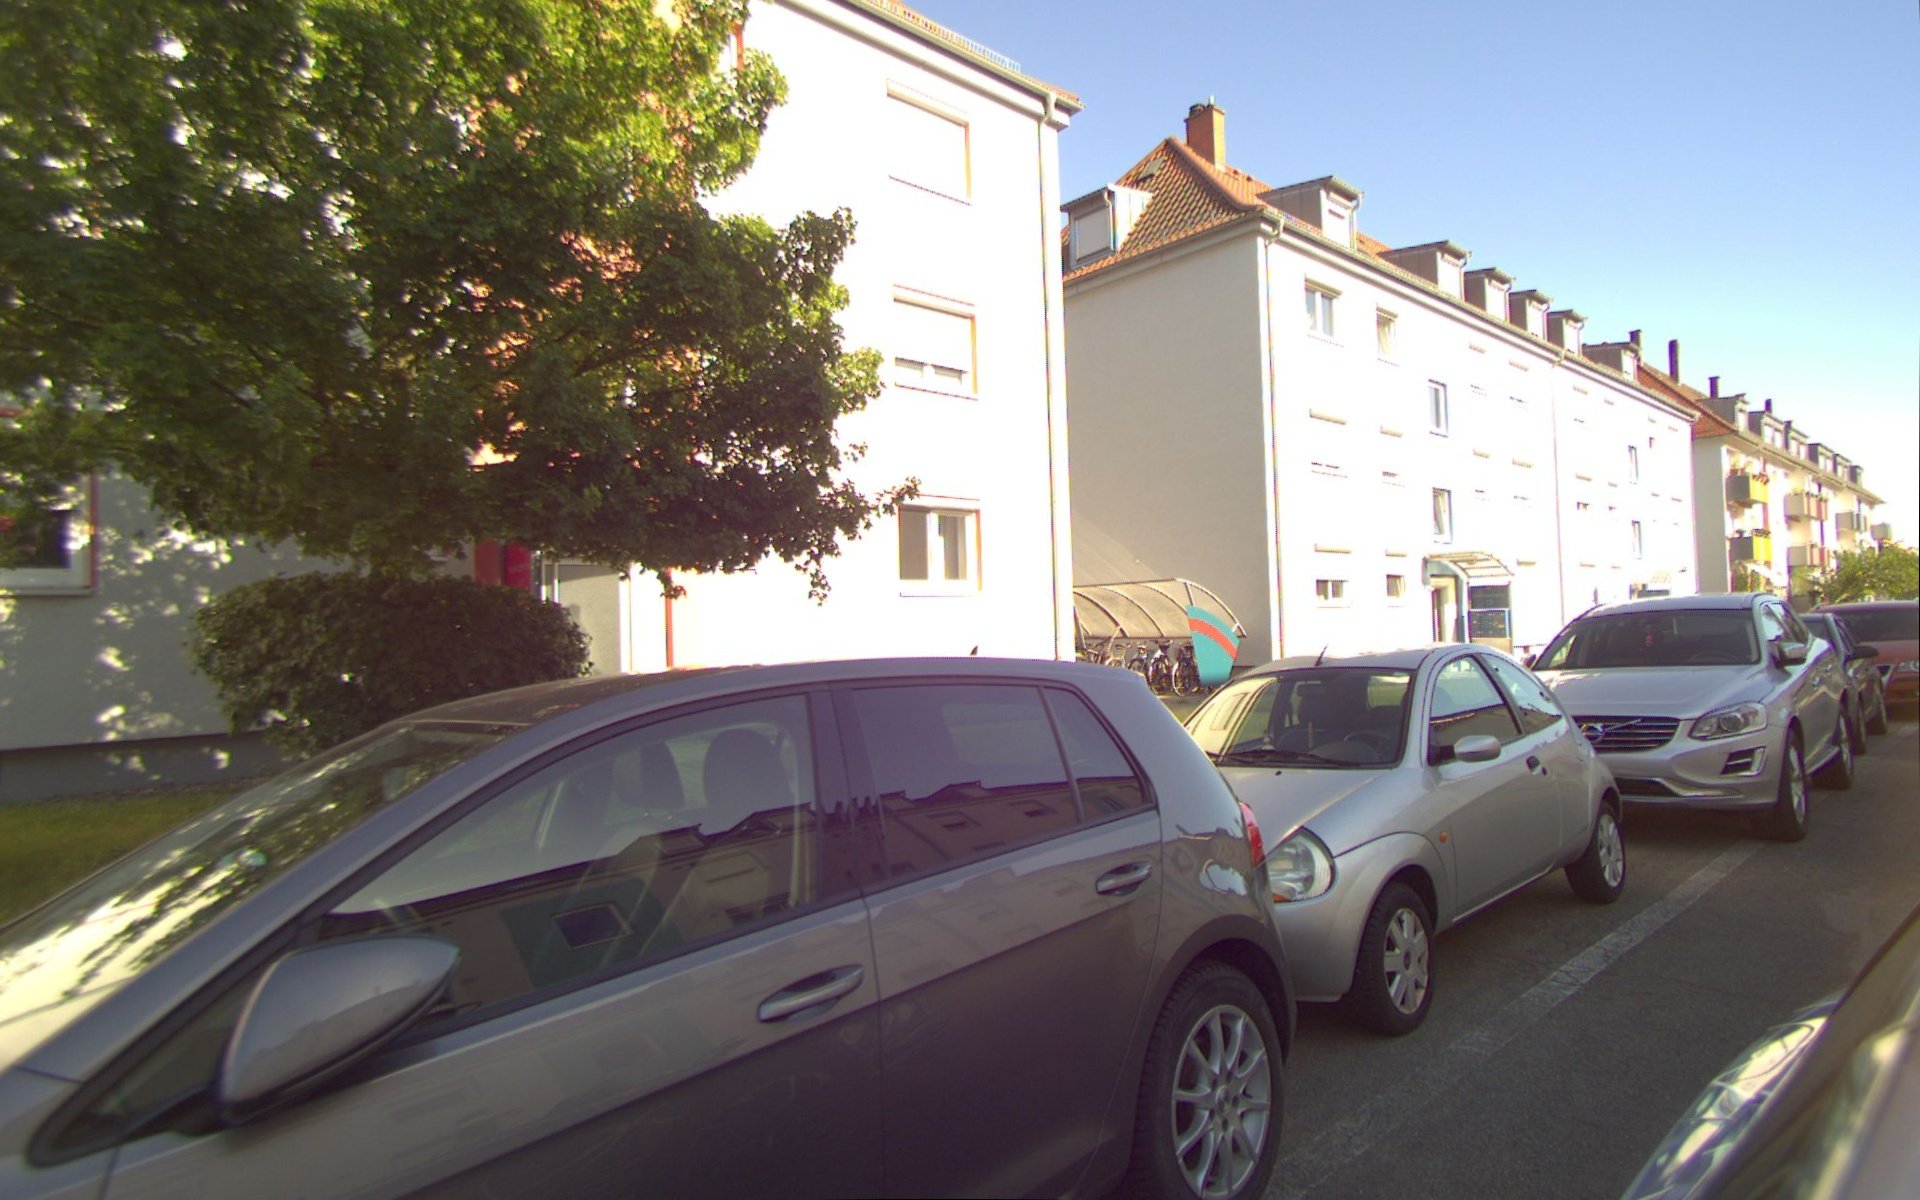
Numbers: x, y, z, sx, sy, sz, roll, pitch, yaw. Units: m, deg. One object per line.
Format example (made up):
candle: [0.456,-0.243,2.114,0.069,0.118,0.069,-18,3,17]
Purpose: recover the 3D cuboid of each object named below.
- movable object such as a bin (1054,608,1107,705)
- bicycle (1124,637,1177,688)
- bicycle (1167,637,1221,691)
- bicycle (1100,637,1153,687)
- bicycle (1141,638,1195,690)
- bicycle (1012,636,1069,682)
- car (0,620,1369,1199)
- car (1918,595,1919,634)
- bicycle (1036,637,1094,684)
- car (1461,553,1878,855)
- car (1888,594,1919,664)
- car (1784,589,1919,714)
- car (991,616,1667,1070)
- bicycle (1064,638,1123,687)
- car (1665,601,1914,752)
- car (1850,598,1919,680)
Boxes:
movable object such as a bin: [2.016,0.924,16.925,0.613,1.572,0.595,0,-2,-40]
bicycle: [3.897,1.267,20.650,1.260,0.958,0.319,-1,0,-39]
bicycle: [4.552,1.229,19.640,1.260,0.958,0.319,-1,0,-39]
bicycle: [3.460,1.272,20.991,1.260,0.958,0.319,-1,0,-39]
bicycle: [4.158,1.258,20.216,1.260,0.958,0.319,-1,0,-39]
bicycle: [1.830,1.333,22.941,1.481,0.958,0.319,-1,0,-39]
car: [-0.803,0.842,2.185,3.887,1.470,1.628,1,-6,-45]
car: [27.590,0.624,27.621,3.971,1.591,1.706,0,-2,-41]
bicycle: [2.322,1.328,22.321,1.481,0.958,0.319,-1,0,-39]
car: [5.743,0.657,7.966,4.235,1.742,1.776,0,-5,-44]
car: [23.375,0.639,23.903,3.809,1.591,1.706,0,-2,-41]
car: [13.845,0.681,15.059,4.347,1.627,1.729,0,-2,-42]
car: [1.993,0.864,5.047,3.428,1.412,1.630,0,-5,-41]
bicycle: [2.856,1.322,21.547,1.481,0.958,0.319,-1,0,-39]
car: [9.804,0.813,11.866,3.791,1.468,1.618,0,-4,-42]
car: [19.678,0.729,20.643,3.809,1.545,1.706,0,-5,-41]
